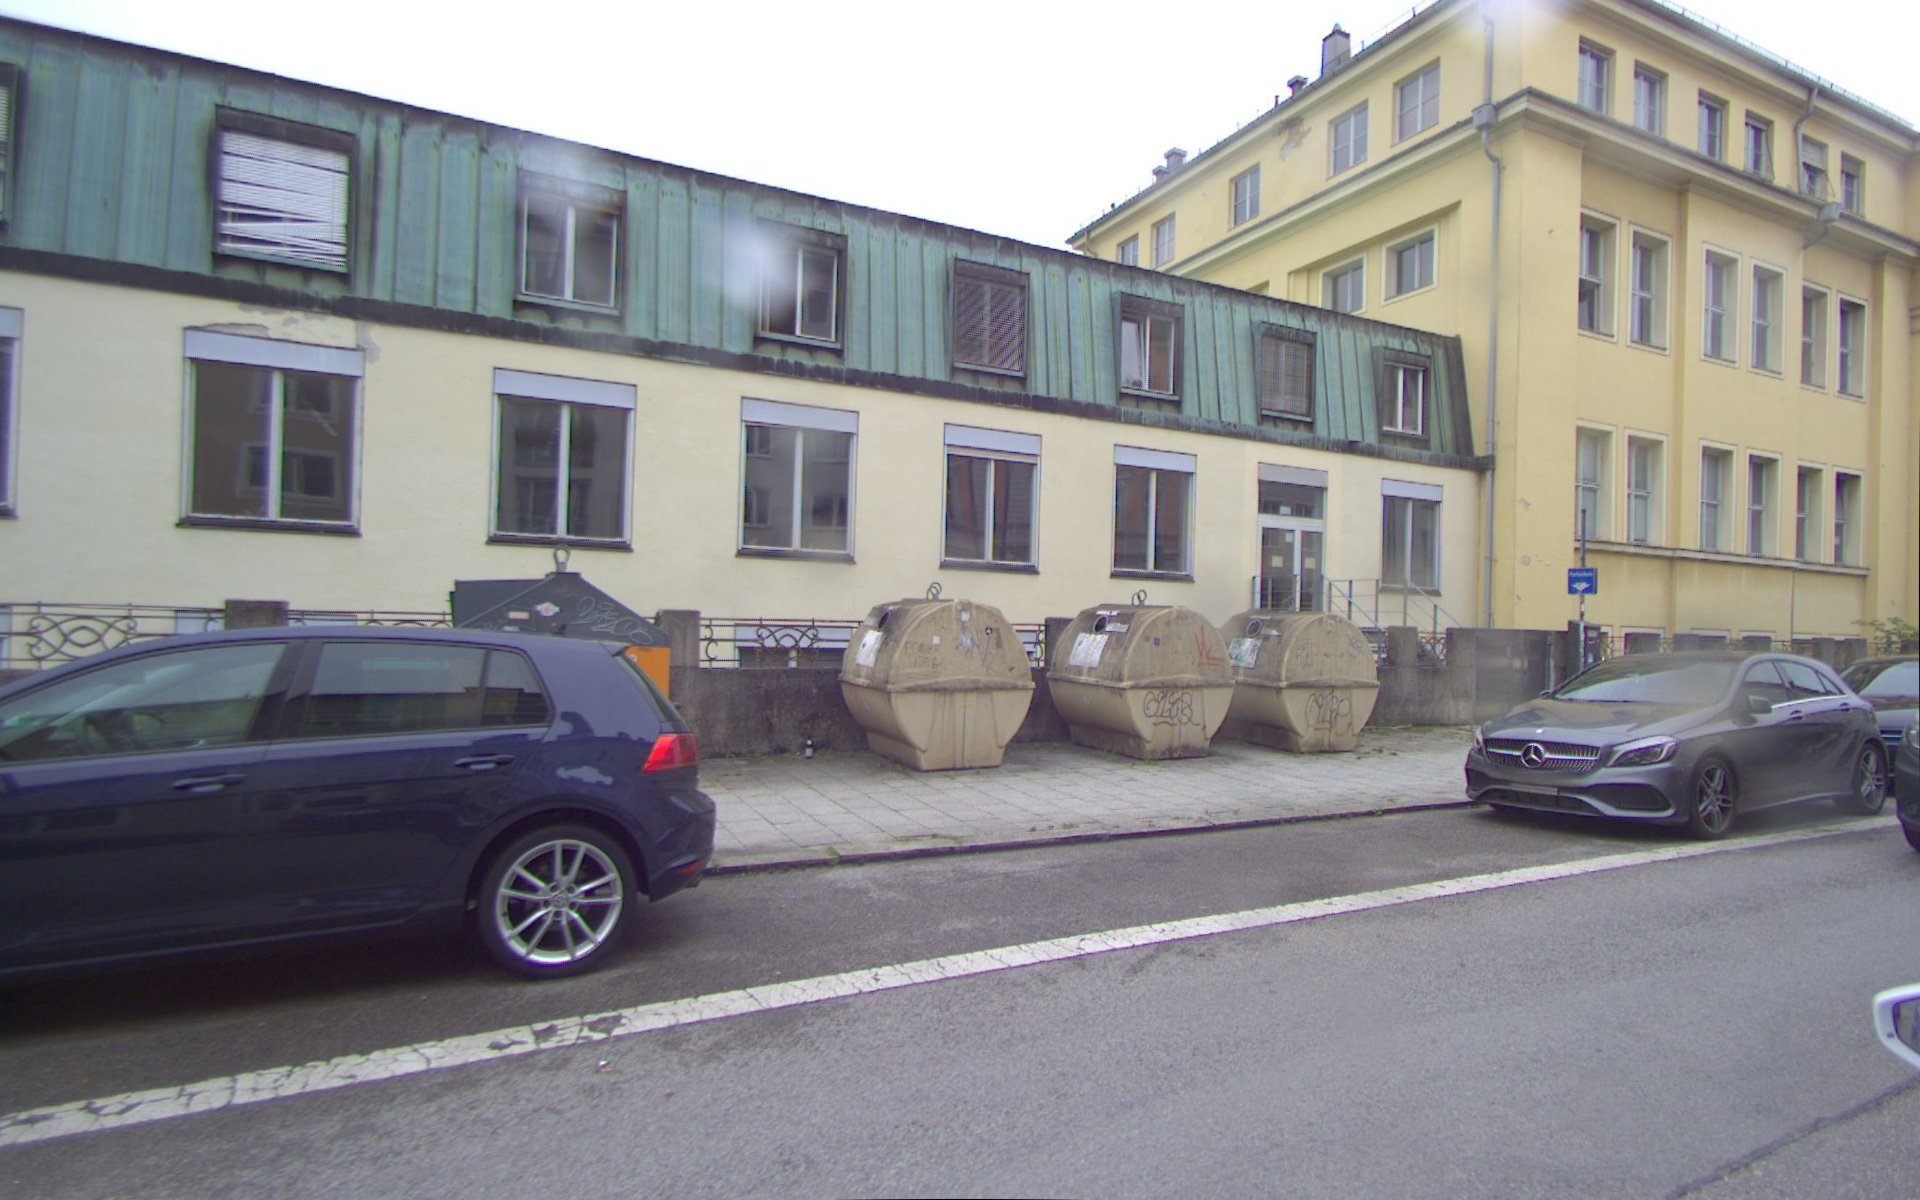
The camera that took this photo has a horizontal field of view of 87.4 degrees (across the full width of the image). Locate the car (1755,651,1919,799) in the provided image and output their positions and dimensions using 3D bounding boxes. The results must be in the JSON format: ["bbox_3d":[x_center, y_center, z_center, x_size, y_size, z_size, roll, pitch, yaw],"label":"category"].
[{"bbox_3d":[10.900,1.312,11.154,4.303,1.423,1.742,2,-5,-30],"label":"car"}]

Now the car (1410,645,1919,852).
[{"bbox_3d":[6.420,1.187,9.000,4.559,1.436,2.007,3,-5,-28],"label":"car"}]

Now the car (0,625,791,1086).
[{"bbox_3d":[-3.164,0.906,4.357,4.471,1.501,1.908,1,-4,-26],"label":"car"}]

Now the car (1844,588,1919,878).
[{"bbox_3d":[8.786,0.924,7.164,5.252,1.872,1.909,2,-3,-27],"label":"car"}]
